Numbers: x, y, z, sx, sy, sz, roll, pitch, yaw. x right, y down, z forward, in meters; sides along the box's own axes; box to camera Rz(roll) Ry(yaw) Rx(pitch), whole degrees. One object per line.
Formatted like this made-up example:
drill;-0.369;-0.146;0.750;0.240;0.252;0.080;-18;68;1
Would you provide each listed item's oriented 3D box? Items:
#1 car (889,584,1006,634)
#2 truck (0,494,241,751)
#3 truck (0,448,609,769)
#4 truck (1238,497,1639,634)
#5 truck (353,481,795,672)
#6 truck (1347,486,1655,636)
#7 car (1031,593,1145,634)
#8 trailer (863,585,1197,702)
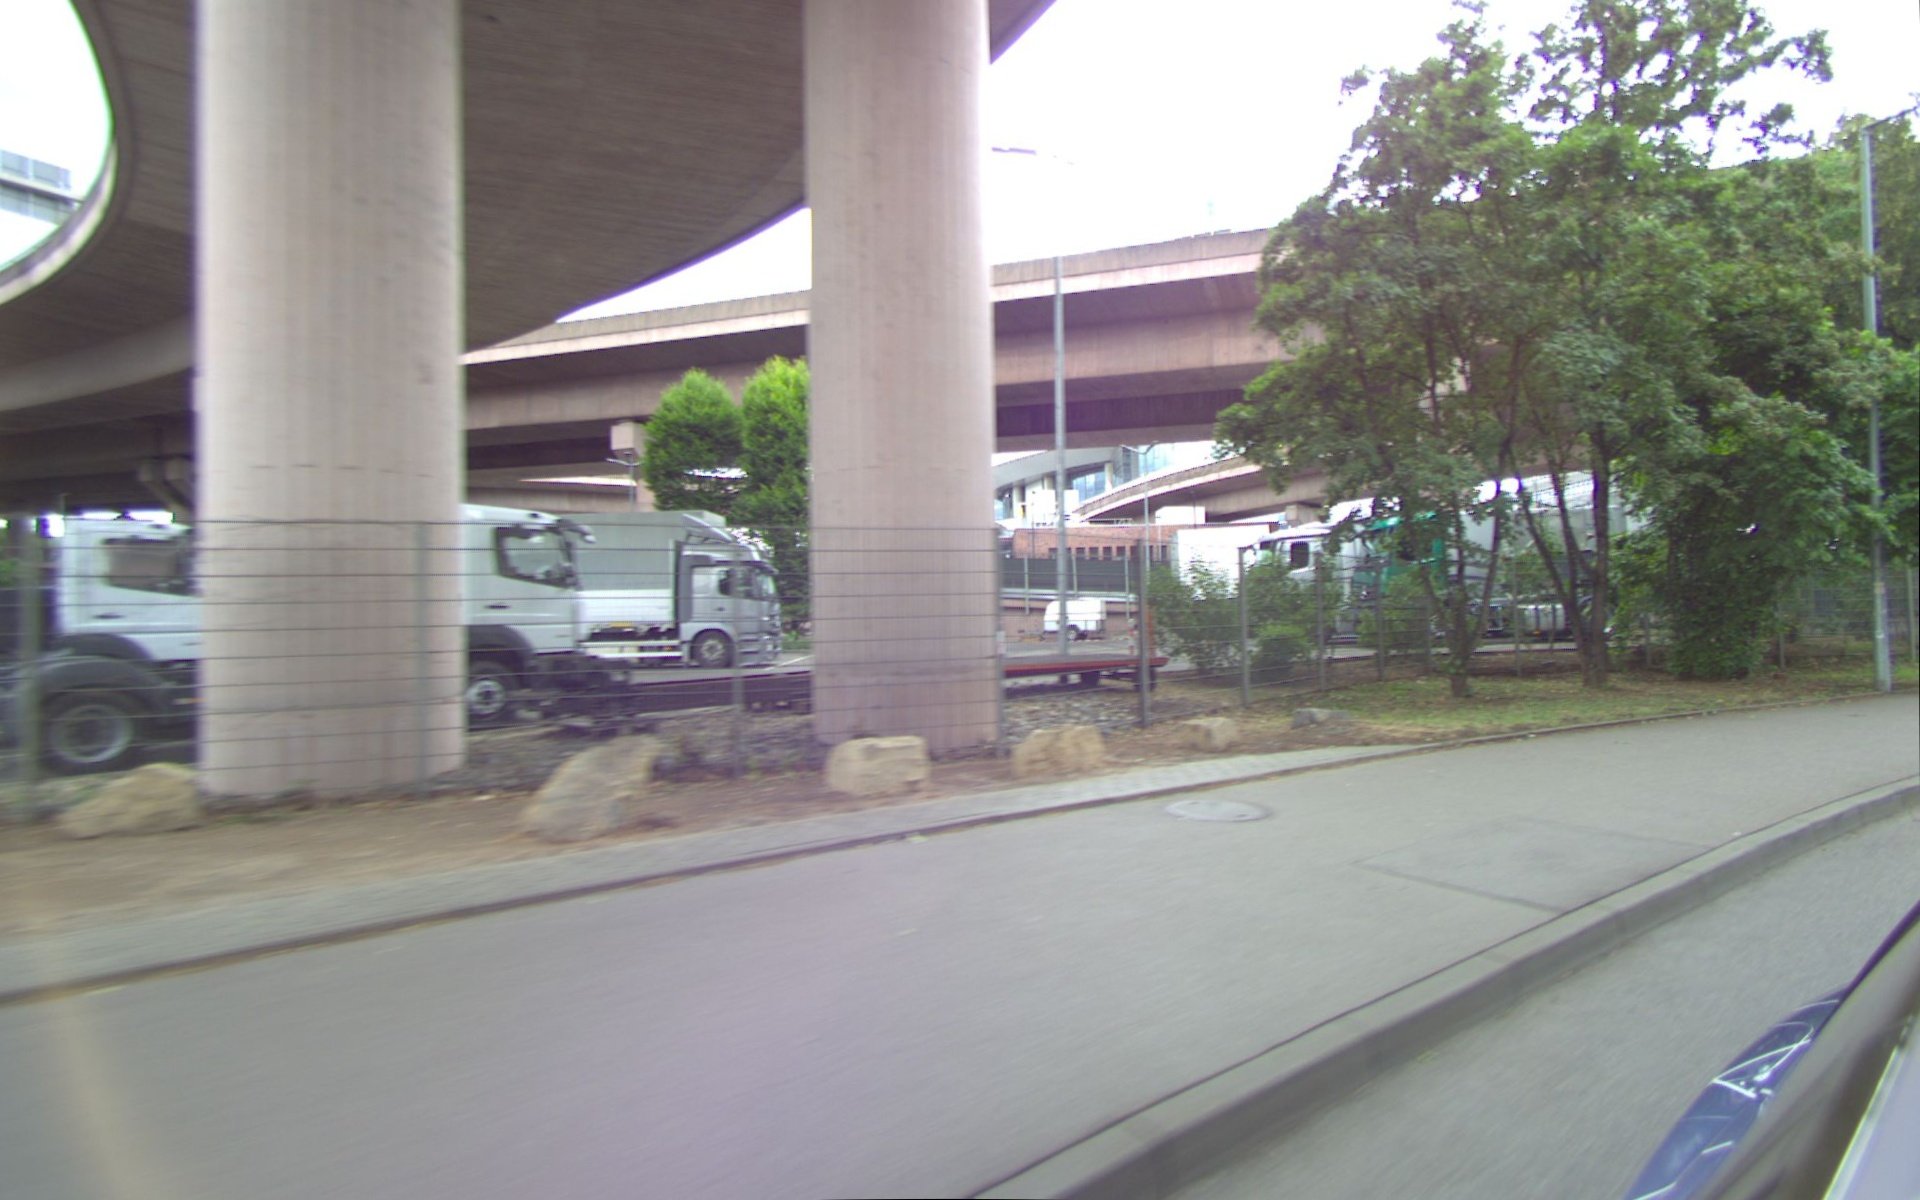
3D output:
car;-0.575;0.444;48.293;5.096;2.240;2.322;-1;-2;19
truck;-12.287;0.277;11.913;6.014;2.923;2.453;0;-1;-42
truck;-7.781;0.095;11.163;2.415;2.779;7.125;-2;-1;42
truck;13.140;-0.937;28.292;10.023;3.542;2.270;-1;0;1
truck;-9.539;-0.526;26.130;9.942;4.422;3.913;-1;-2;0
truck;13.196;-0.913;25.056;6.295;3.451;2.269;-1;0;3
car;5.812;0.632;45.940;4.810;1.728;2.082;-1;-2;19
trailer;0.992;0.509;13.774;4.293;1.348;1.608;-1;0;-27
